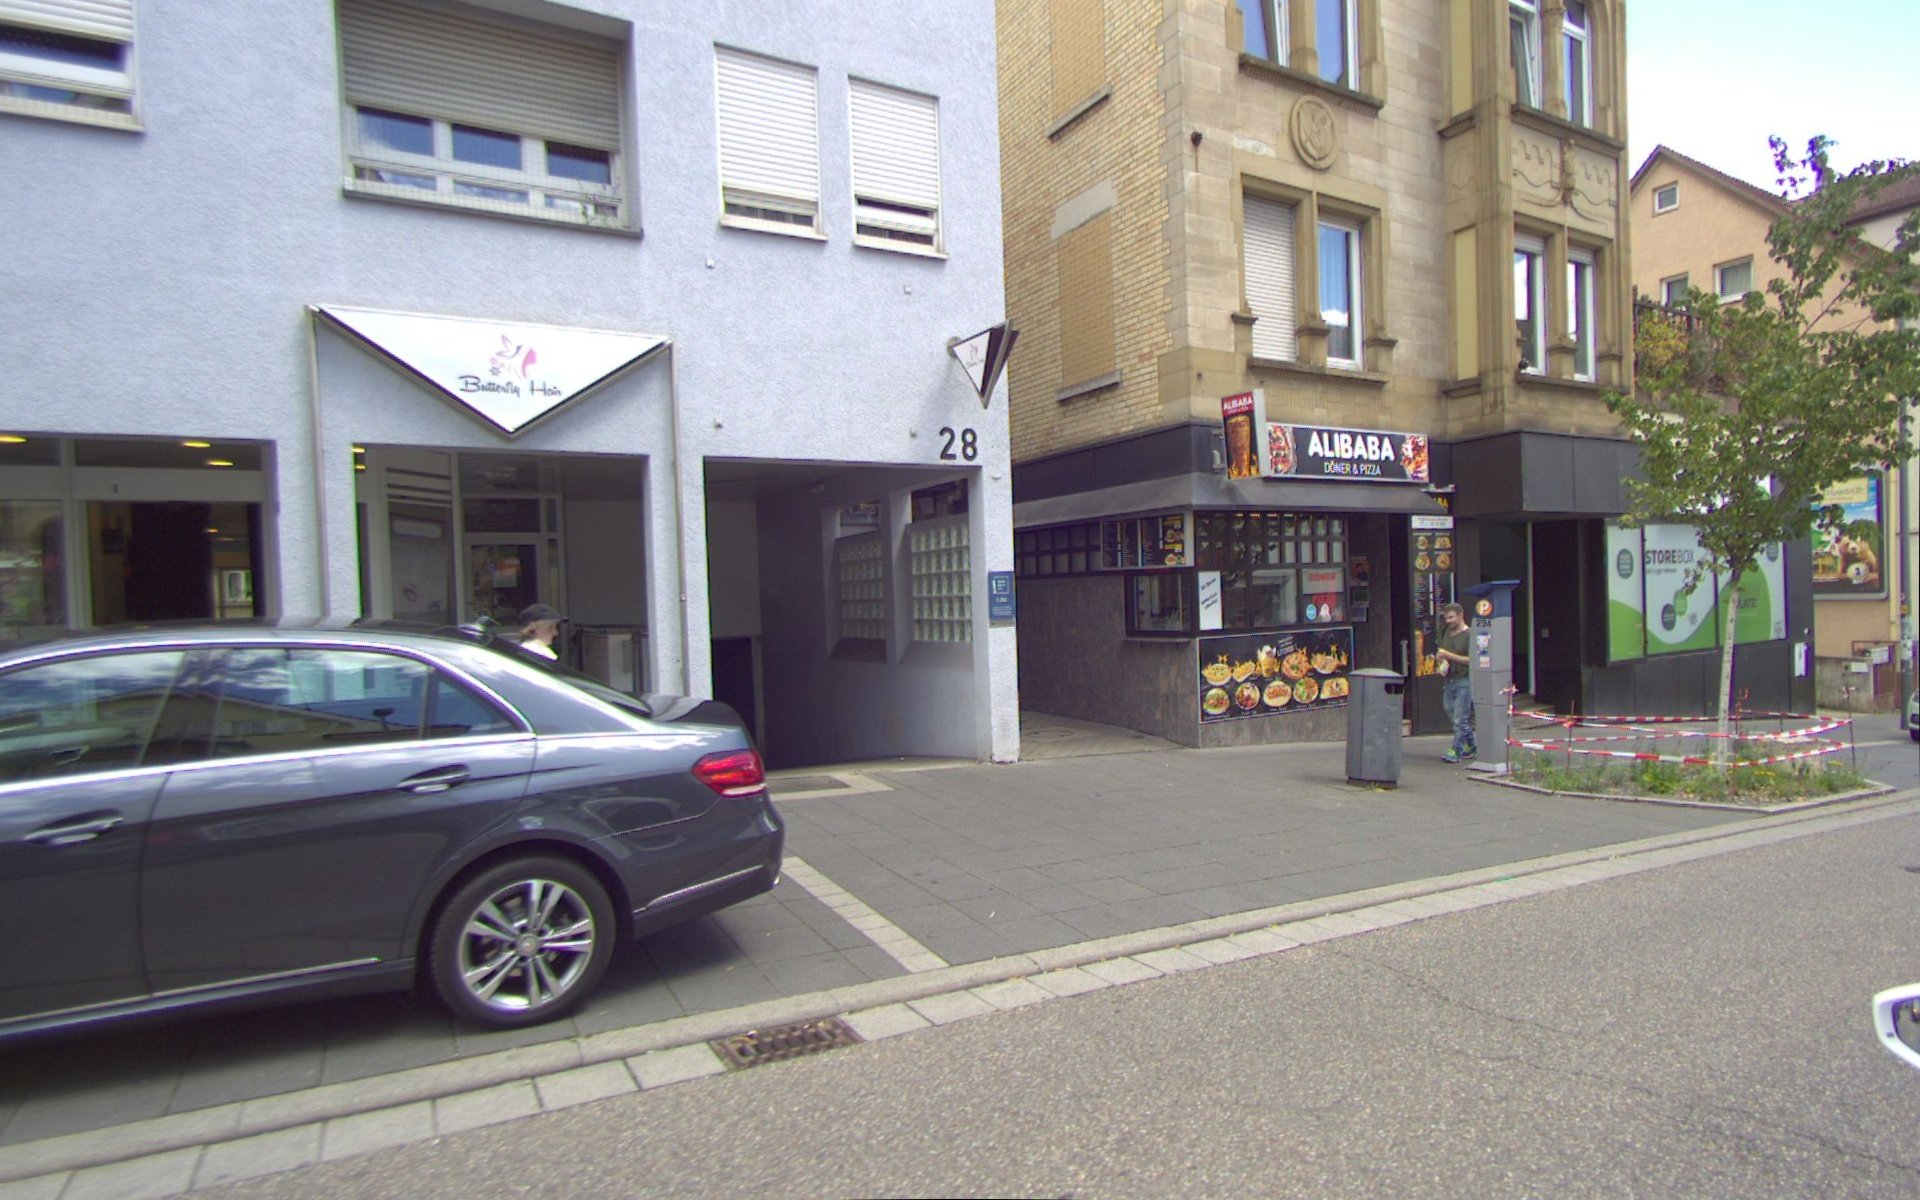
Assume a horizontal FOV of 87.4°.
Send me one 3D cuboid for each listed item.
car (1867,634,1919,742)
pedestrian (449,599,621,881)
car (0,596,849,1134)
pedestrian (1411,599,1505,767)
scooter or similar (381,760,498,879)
[{"bbox_3d":[15.917,1.341,15.356,4.214,1.531,1.916,1,1,-32],"label":"car"},{"bbox_3d":[-2.517,0.759,5.919,0.800,1.483,0.822,2,1,-31],"label":"pedestrian"},{"bbox_3d":[-3.021,0.780,3.893,4.788,1.512,1.916,1,1,-32],"label":"car"},{"bbox_3d":[5.406,0.876,10.912,0.702,1.736,0.584,1,1,-30],"label":"pedestrian"},{"bbox_3d":[-3.016,1.249,5.813,0.566,0.526,0.522,2,1,-31],"label":"scooter or similar"}]
